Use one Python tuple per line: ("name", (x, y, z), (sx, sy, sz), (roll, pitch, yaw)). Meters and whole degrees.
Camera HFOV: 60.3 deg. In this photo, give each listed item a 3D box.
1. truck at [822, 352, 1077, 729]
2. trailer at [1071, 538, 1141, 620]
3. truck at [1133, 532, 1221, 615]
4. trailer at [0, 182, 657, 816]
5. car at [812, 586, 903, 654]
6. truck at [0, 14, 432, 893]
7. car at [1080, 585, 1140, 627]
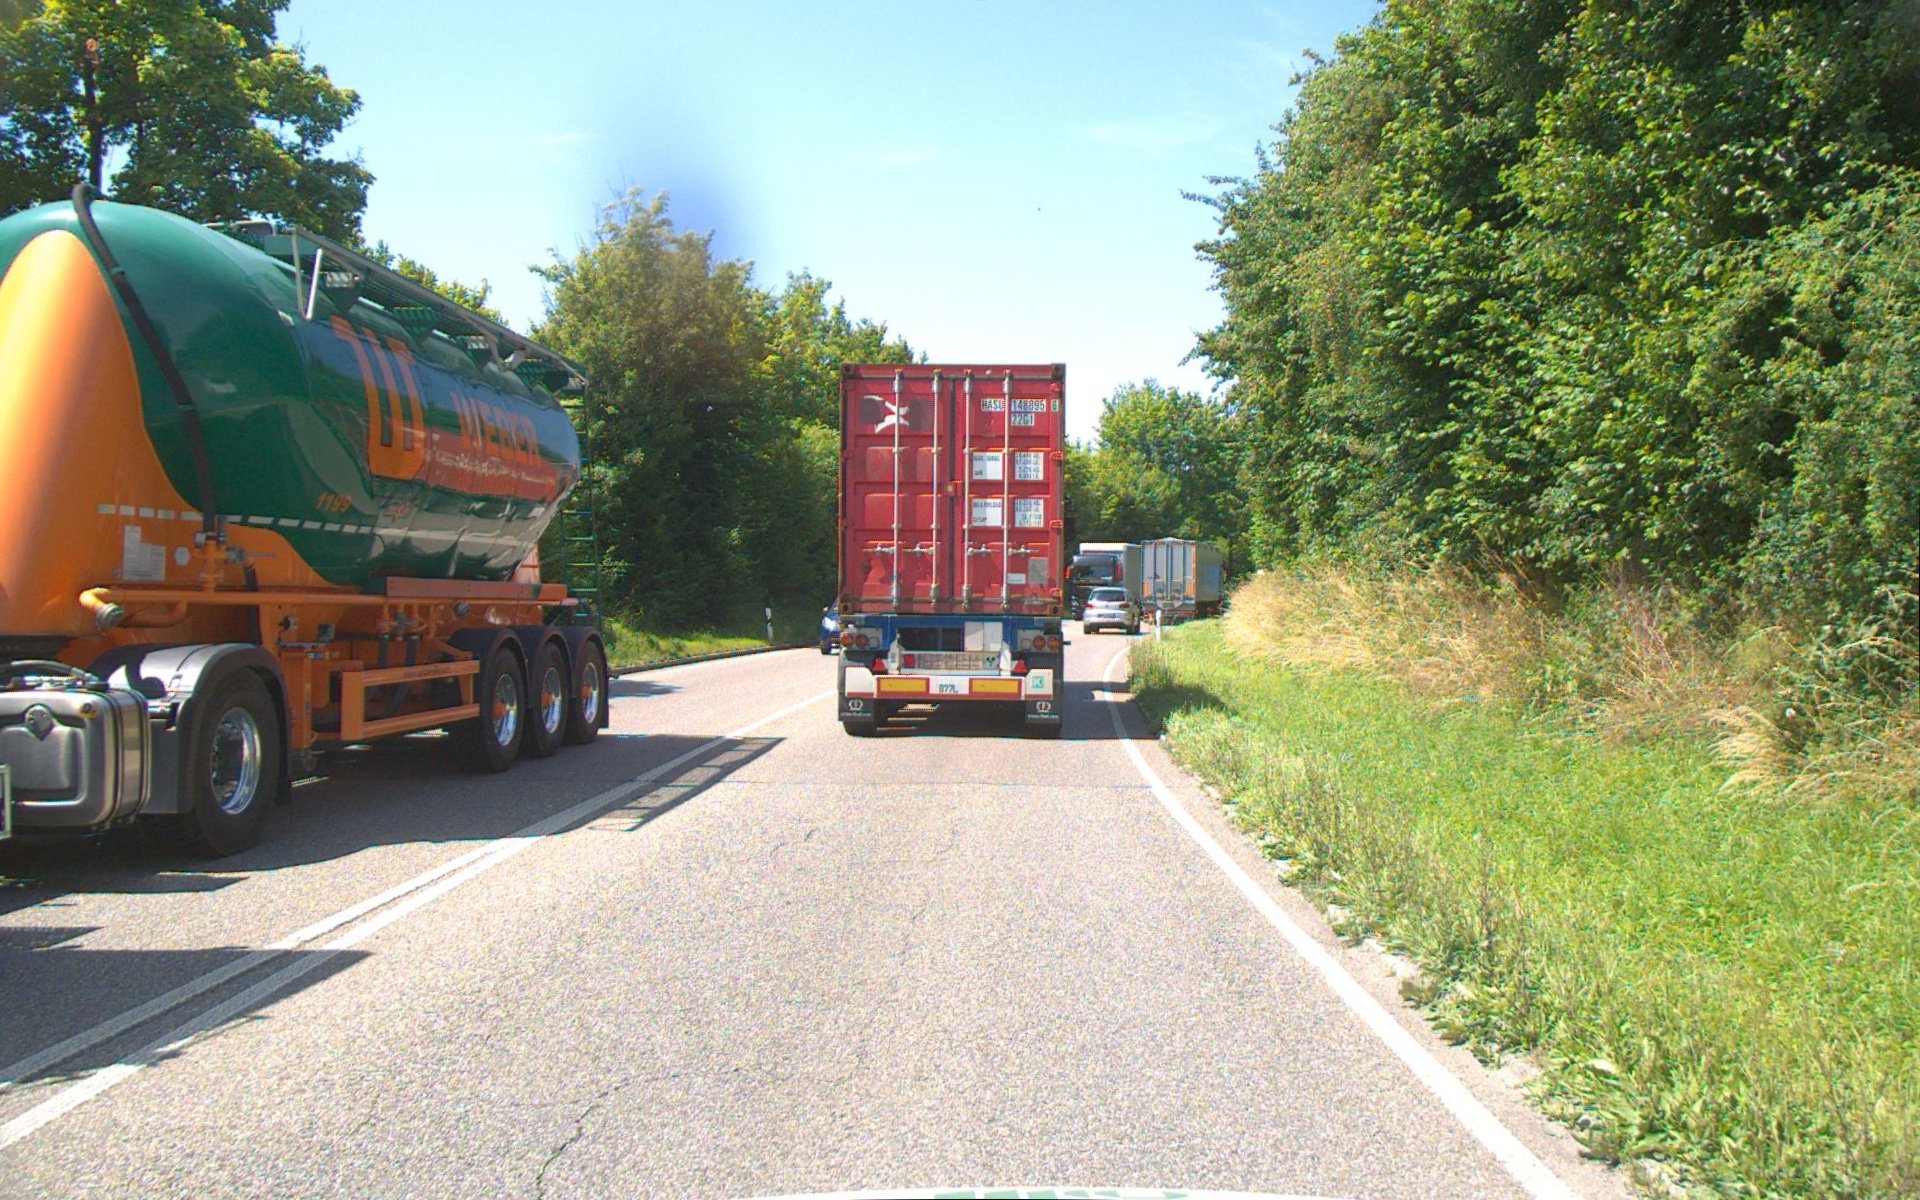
("truck", (0.282, -0.614, 23.820), (2.592, 3.873, 13.365), (1, 0, 3))
("trailer", (8.199, -1.074, 91.858), (2.859, 4.256, 11.274), (1, 0, 10))
("truck", (10.980, -1.256, 82.290), (2.859, 3.782, 13.370), (-1, 0, 14))
("trailer", (-4.995, -0.654, 14.653), (2.523, 3.886, 8.918), (0, 0, 3))
("car", (-2.463, 0.449, 40.633), (1.648, 1.556, 4.072), (1, 0, 5))
("truck", (-5.309, -0.635, 8.218), (2.525, 3.744, 7.878), (0, 0, 2))
("car", (5.542, 0.214, 60.752), (1.793, 1.458, 4.003), (-2, -1, 10))
